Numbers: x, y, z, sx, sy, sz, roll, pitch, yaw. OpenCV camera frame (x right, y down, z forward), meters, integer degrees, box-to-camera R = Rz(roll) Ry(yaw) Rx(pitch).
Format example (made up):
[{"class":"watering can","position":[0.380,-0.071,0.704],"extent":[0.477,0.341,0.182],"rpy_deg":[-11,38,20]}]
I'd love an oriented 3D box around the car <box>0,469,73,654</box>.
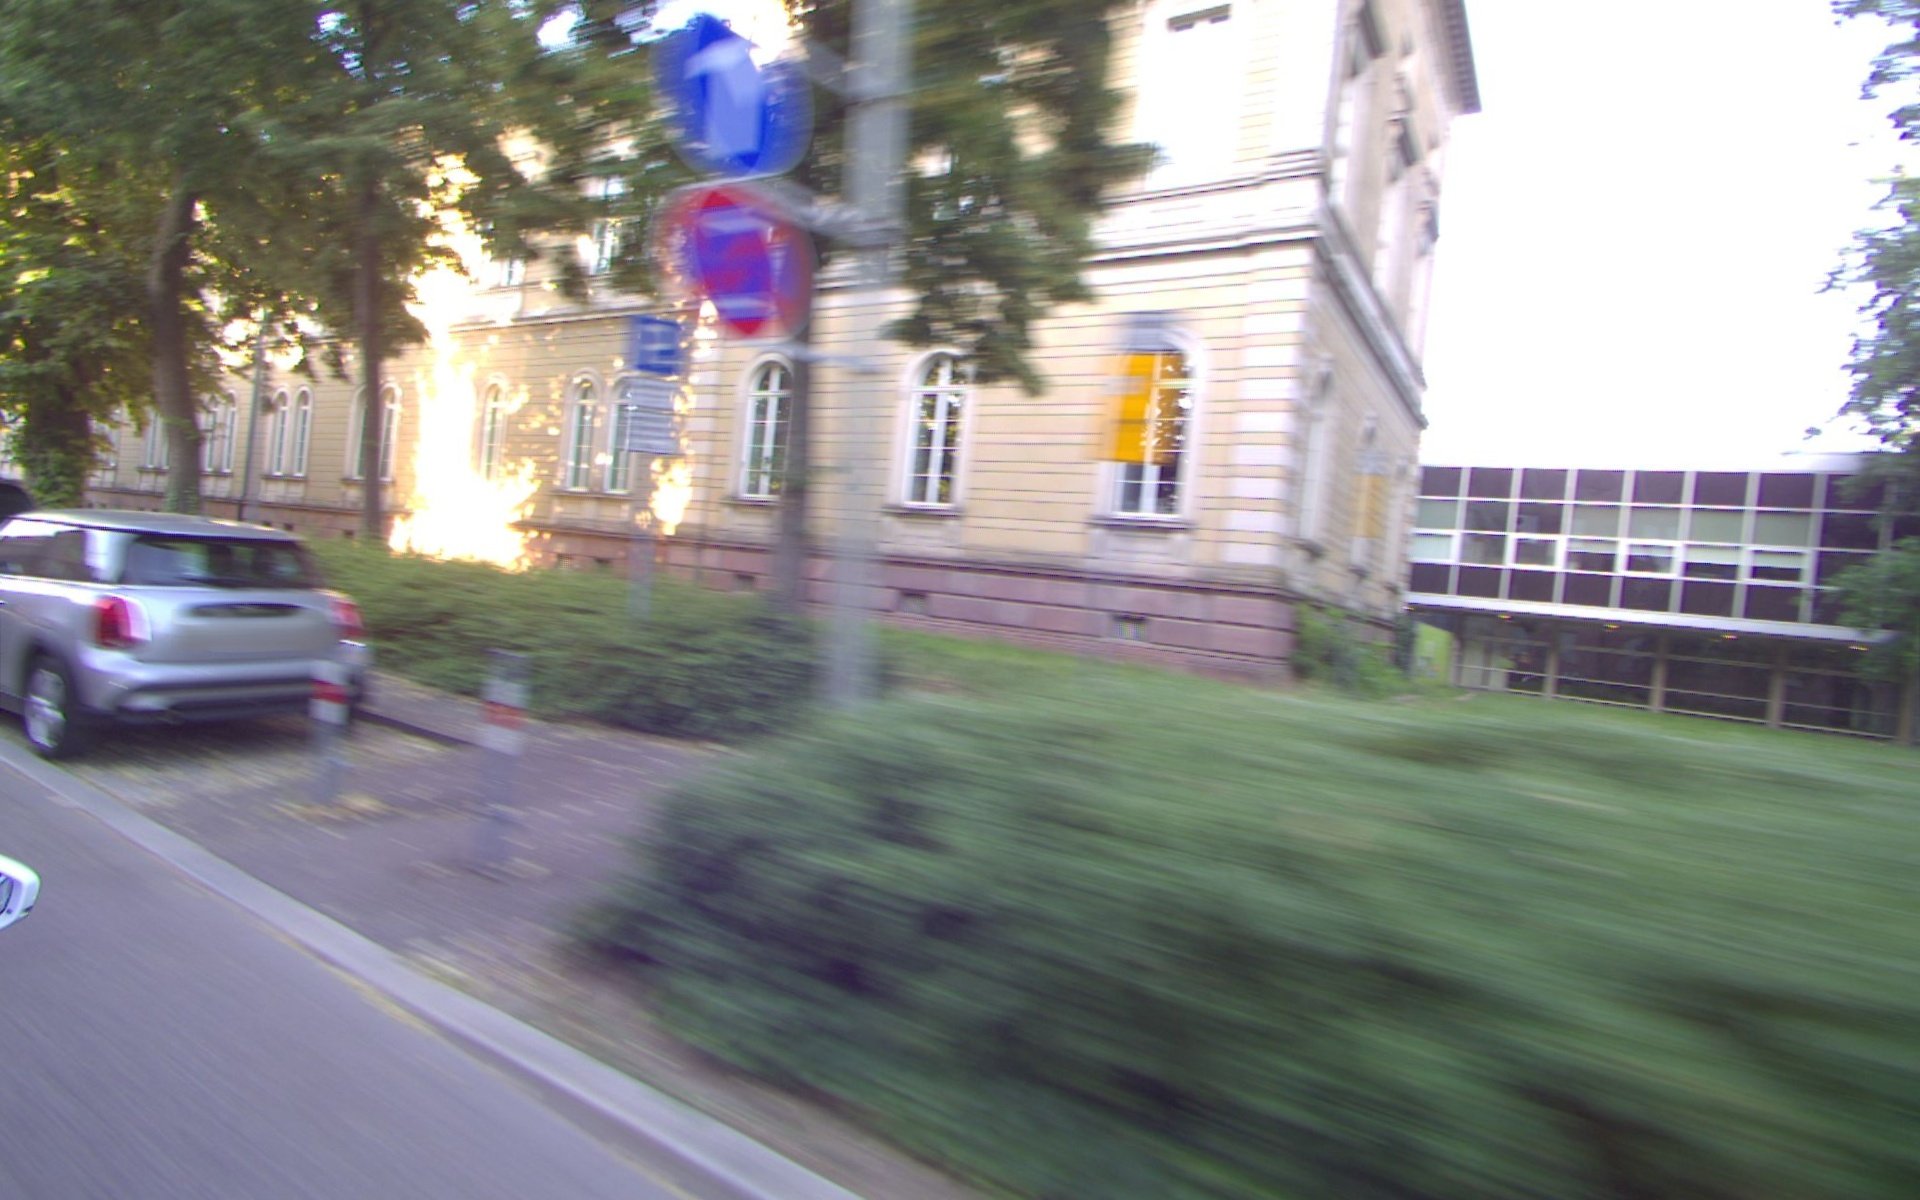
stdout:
[{"class":"car","position":[-11.042,-0.582,10.383],"extent":[4.401,1.734,1.716],"rpy_deg":[6,1,34]}]

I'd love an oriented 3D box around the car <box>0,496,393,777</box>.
[{"class":"car","position":[-5.807,0.087,6.994],"extent":[3.611,1.467,1.685],"rpy_deg":[5,2,32]}]
